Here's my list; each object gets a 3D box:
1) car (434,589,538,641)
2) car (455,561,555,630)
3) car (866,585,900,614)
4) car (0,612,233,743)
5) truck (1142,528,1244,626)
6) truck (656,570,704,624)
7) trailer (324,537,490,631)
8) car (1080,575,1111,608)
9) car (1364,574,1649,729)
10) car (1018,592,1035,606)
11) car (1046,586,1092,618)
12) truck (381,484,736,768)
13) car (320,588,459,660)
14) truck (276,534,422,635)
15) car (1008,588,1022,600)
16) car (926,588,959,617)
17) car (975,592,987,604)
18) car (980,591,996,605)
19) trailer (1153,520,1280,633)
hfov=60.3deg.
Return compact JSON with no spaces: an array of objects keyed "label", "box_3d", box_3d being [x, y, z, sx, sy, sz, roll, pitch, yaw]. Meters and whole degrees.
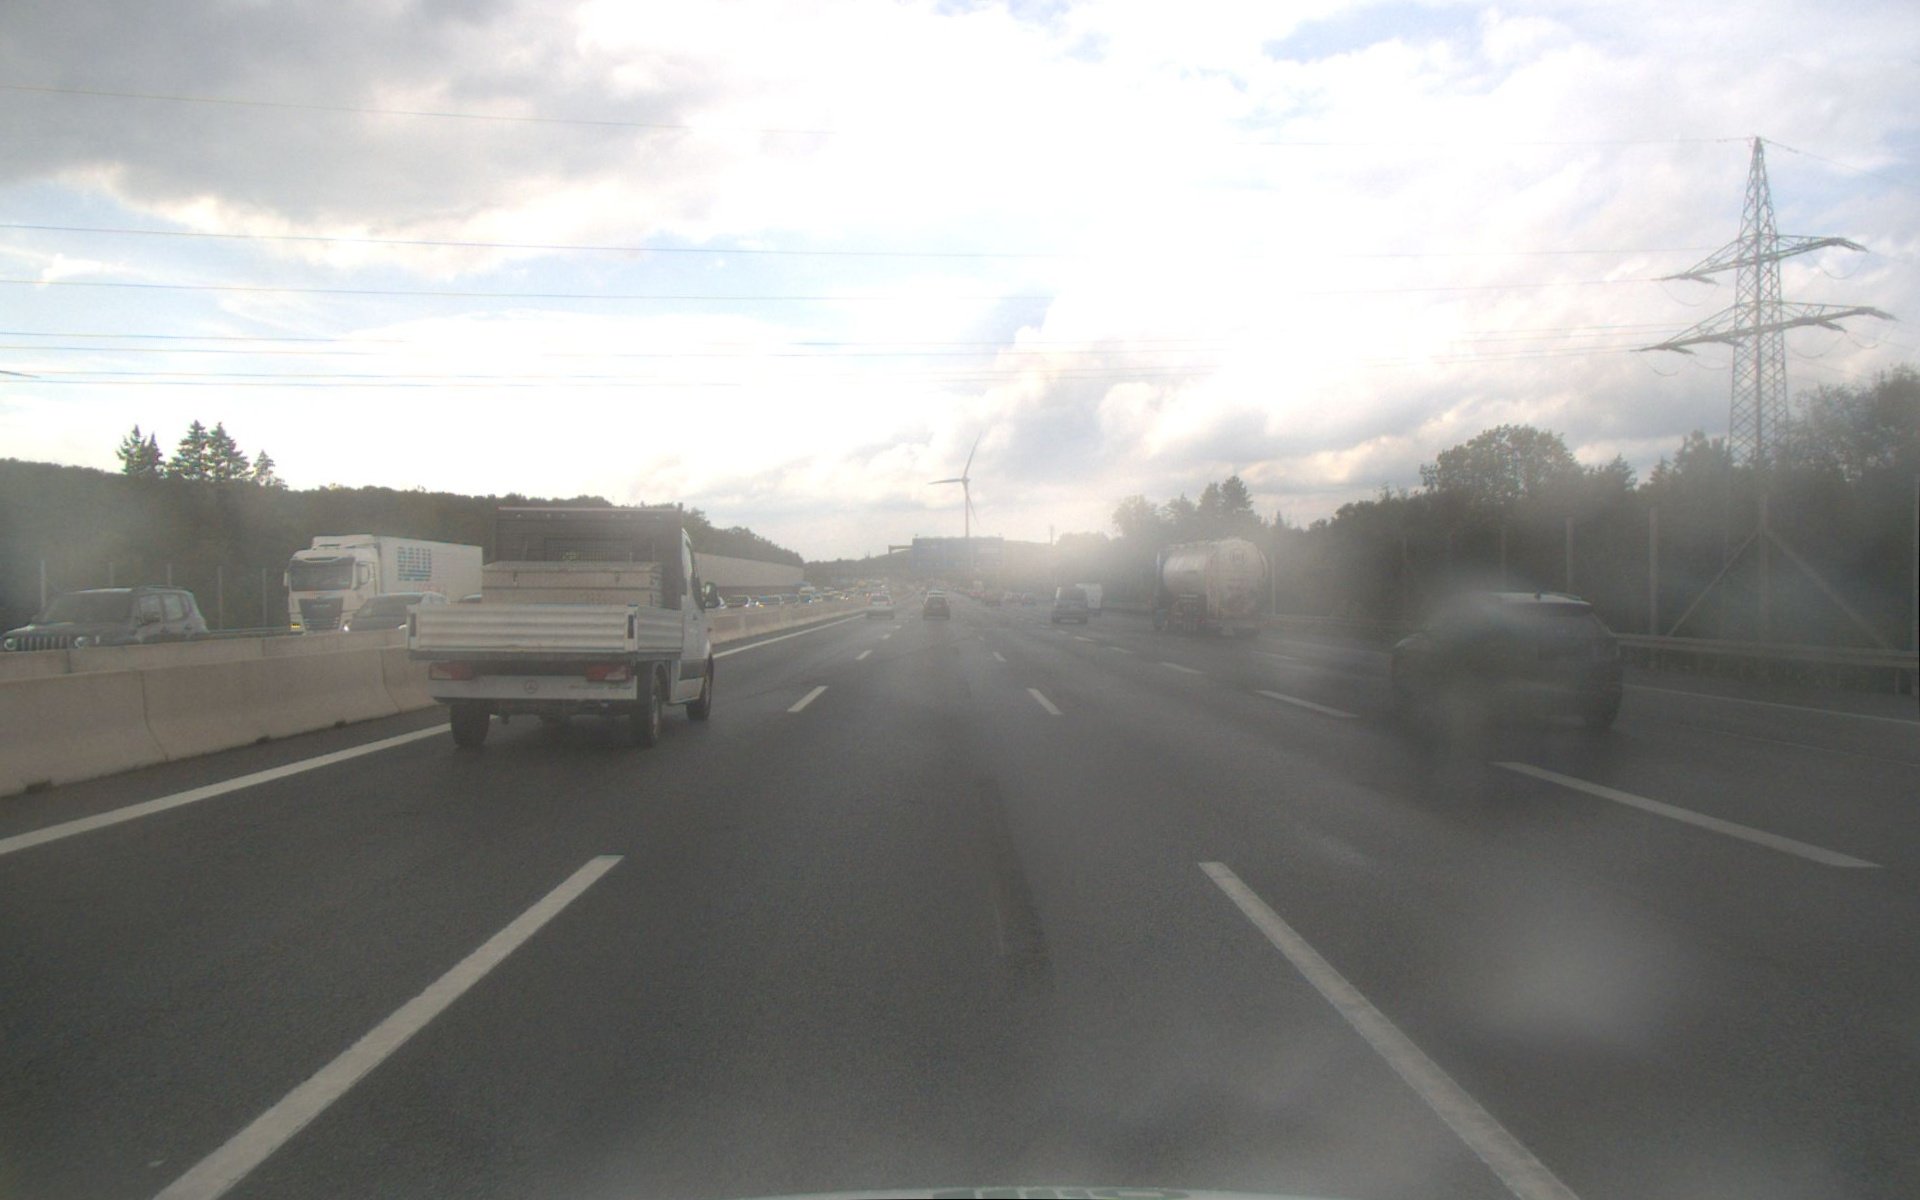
[{"label":"car","box_3d":[-14.664,0.434,51.426,1.812,1.503,5.080,1,1,-1]},{"label":"car","box_3d":[-28.146,-0.279,103.007,3.137,4.016,11.655,0,0,-1]},{"label":"car","box_3d":[-4.824,-0.045,103.651,2.004,1.729,3.999,0,1,-1]},{"label":"car","box_3d":[-13.539,1.142,26.380,1.832,1.790,4.705,1,1,-1]},{"label":"truck","box_3d":[10.386,-1.028,74.657,3.265,4.151,8.270,1,1,-1]},{"label":"truck","box_3d":[-19.278,-0.217,114.183,2.139,3.580,7.490,0,0,-1]},{"label":"trailer","box_3d":[-22.406,-0.656,67.921,2.963,3.493,11.774,1,1,-1]},{"label":"car","box_3d":[10.608,-0.679,129.682,2.004,2.541,3.999,0,1,-1]},{"label":"car","box_3d":[6.896,0.552,21.522,2.003,1.729,5.007,2,1,0]},{"label":"car","box_3d":[8.616,-0.161,213.921,1.953,1.780,4.496,1,0,-1]},{"label":"car","box_3d":[6.147,0.088,93.823,2.056,1.729,3.997,0,1,-4]},{"label":"truck","box_3d":[-3.994,0.174,18.098,2.305,2.450,7.355,1,1,-2]},{"label":"car","box_3d":[-14.205,0.559,41.484,1.856,1.652,4.844,1,1,-1]},{"label":"truck","box_3d":[-22.312,-0.563,60.774,2.982,3.465,6.527,1,1,-1]},{"label":"car","box_3d":[8.343,-0.913,250.701,2.003,1.729,4.000,0,1,0]},{"label":"car","box_3d":[-1.101,0.129,103.923,2.003,1.729,4.000,0,1,-1]},{"label":"car","box_3d":[3.223,-0.355,253.562,1.830,1.758,3.999,1,0,-1]},{"label":"car","box_3d":[3.555,-0.305,213.670,2.003,1.729,4.000,0,1,0]},{"label":"trailer","box_3d":[10.429,-0.967,68.751,3.265,4.248,11.836,1,1,-1]}]
